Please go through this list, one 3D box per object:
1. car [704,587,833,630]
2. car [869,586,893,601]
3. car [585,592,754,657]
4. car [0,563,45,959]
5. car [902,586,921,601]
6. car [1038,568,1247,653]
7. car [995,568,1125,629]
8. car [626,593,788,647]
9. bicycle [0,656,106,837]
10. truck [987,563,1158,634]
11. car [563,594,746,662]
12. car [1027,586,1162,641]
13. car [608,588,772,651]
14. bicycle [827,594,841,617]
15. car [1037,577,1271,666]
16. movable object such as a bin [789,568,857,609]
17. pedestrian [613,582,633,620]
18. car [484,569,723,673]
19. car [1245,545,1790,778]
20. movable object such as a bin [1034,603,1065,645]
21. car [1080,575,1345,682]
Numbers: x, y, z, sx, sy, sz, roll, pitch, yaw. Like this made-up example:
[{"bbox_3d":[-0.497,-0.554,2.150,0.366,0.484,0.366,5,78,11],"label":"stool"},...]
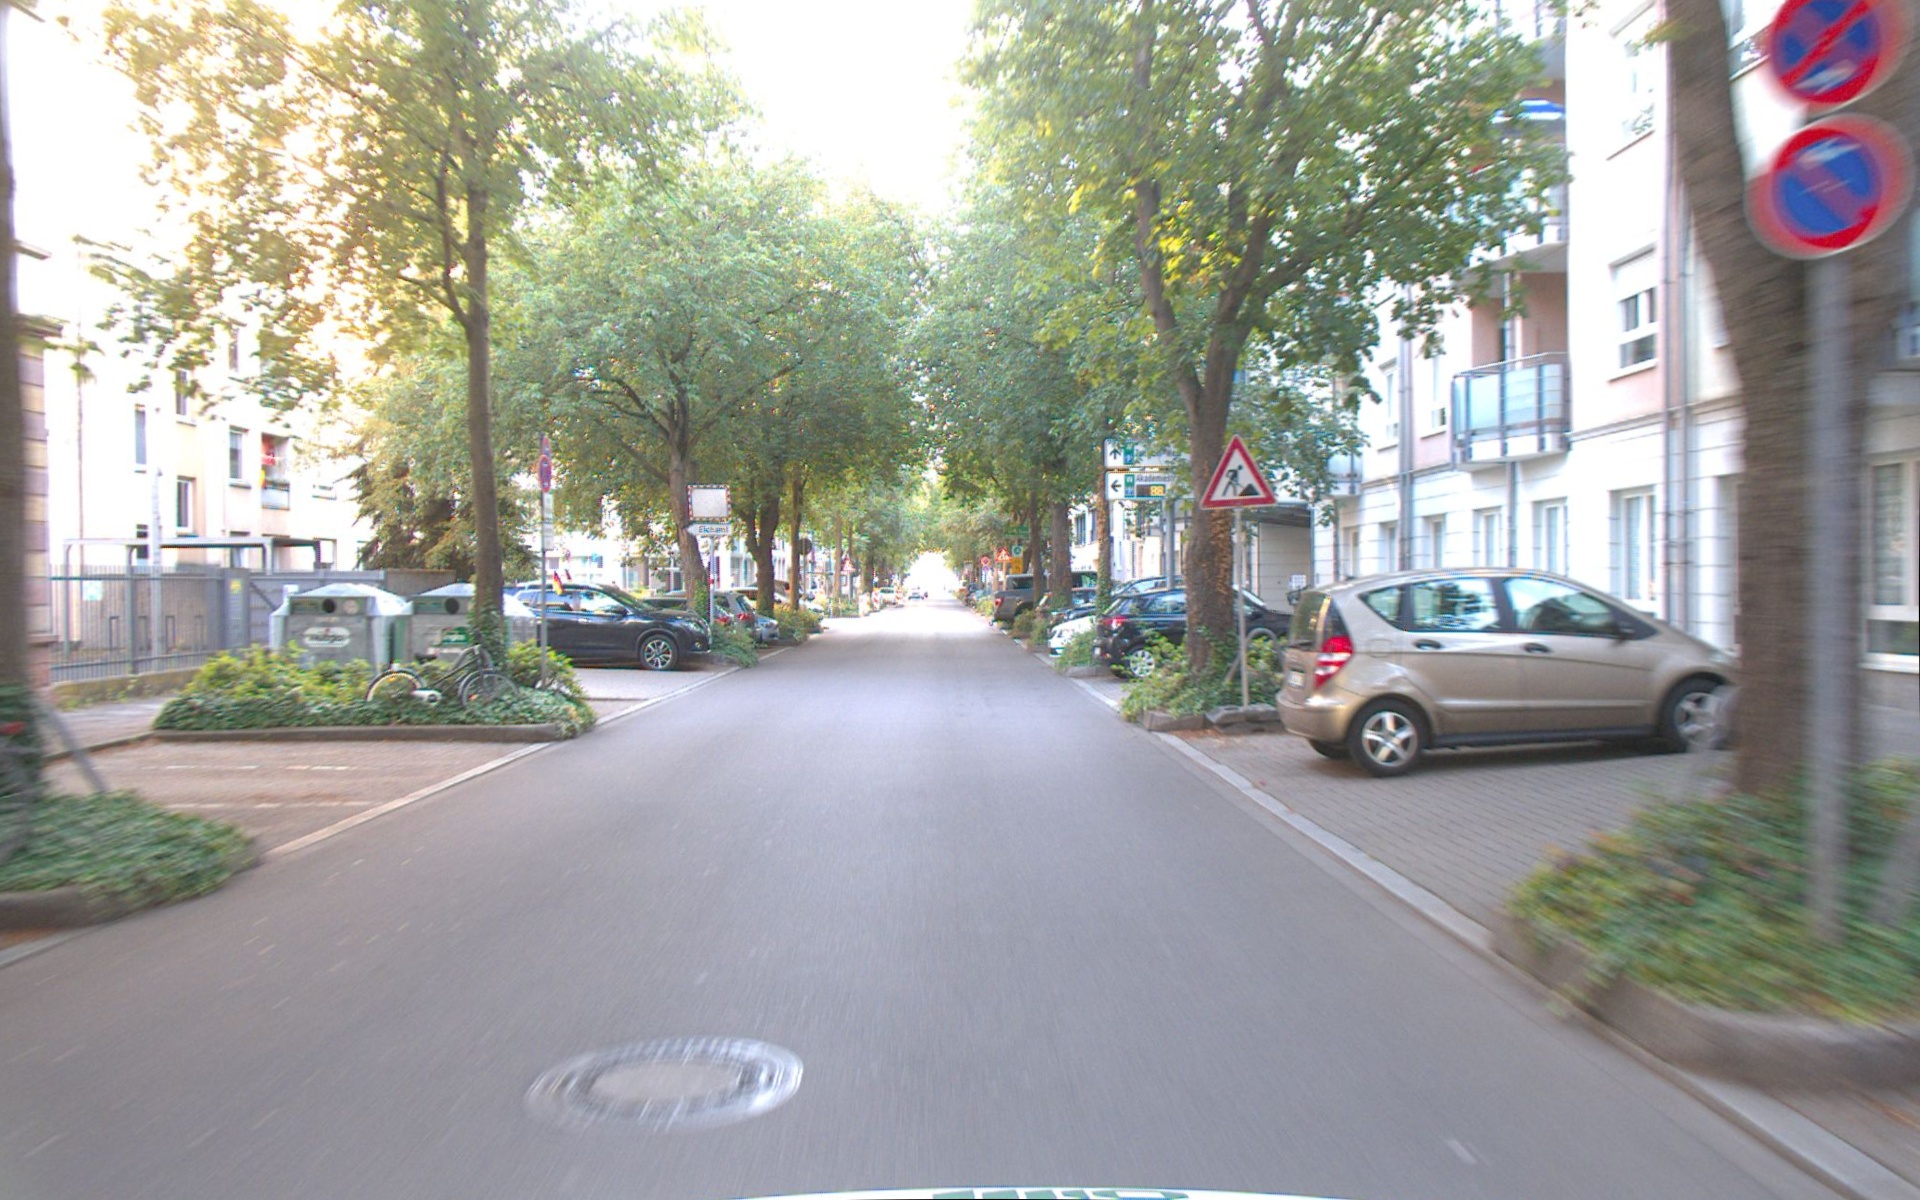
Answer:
[{"bbox_3d":[-7.104,0.296,61.756,4.523,1.579,2.076,0,0,1],"label":"car"},{"bbox_3d":[-6.902,-0.586,144.732,1.955,1.310,3.996,0,1,-5],"label":"car"},{"bbox_3d":[-7.093,0.582,40.679,3.908,1.516,1.824,0,0,-4],"label":"car"},{"bbox_3d":[-6.380,0.689,6.123,4.753,1.650,2.160,0,0,0],"label":"car"},{"bbox_3d":[-5.284,-0.746,180.111,1.969,1.641,4.118,0,0,-2],"label":"car"},{"bbox_3d":[4.282,0.240,39.220,4.552,1.645,2.008,-4,1,-5],"label":"car"},{"bbox_3d":[3.600,-0.082,59.990,4.508,2.102,2.197,-1,1,-2],"label":"car"},{"bbox_3d":[-6.988,0.538,45.975,4.200,1.454,1.879,0,0,-1],"label":"car"},{"bbox_3d":[-5.192,0.717,8.274,1.520,0.845,0.613,0,0,2],"label":"bicycle"},{"bbox_3d":[3.849,-0.062,57.252,5.767,2.351,2.212,0,0,-1],"label":"truck"},{"bbox_3d":[-7.011,0.622,38.299,3.907,1.489,1.921,0,0,-3],"label":"car"},{"bbox_3d":[3.844,0.372,47.633,3.700,1.571,1.877,0,0,-2],"label":"car"},{"bbox_3d":[-7.037,0.498,43.346,3.903,1.593,1.930,0,0,4],"label":"car"},{"bbox_3d":[-6.499,0.270,85.190,0.670,1.173,1.978,-1,1,-6],"label":"bicycle"},{"bbox_3d":[3.928,0.423,34.040,4.508,1.493,1.795,-3,0,-2],"label":"car"},{"bbox_3d":[-8.282,-0.714,99.683,3.969,2.424,2.781,-1,1,-7],"label":"movable object such as a bin"},{"bbox_3d":[-16.794,0.046,82.461,0.870,1.883,0.875,-1,0,-4],"label":"pedestrian"},{"bbox_3d":[-7.018,0.390,32.945,4.416,1.989,1.998,0,0,-5],"label":"car"},{"bbox_3d":[4.561,0.471,13.977,3.889,1.613,1.916,-3,0,-2],"label":"car"},{"bbox_3d":[2.432,0.644,45.051,0.745,1.103,0.785,-2,0,0],"label":"movable object such as a bin"},{"bbox_3d":[4.210,0.447,27.979,4.006,1.476,1.932,-4,1,-6],"label":"car"}]
